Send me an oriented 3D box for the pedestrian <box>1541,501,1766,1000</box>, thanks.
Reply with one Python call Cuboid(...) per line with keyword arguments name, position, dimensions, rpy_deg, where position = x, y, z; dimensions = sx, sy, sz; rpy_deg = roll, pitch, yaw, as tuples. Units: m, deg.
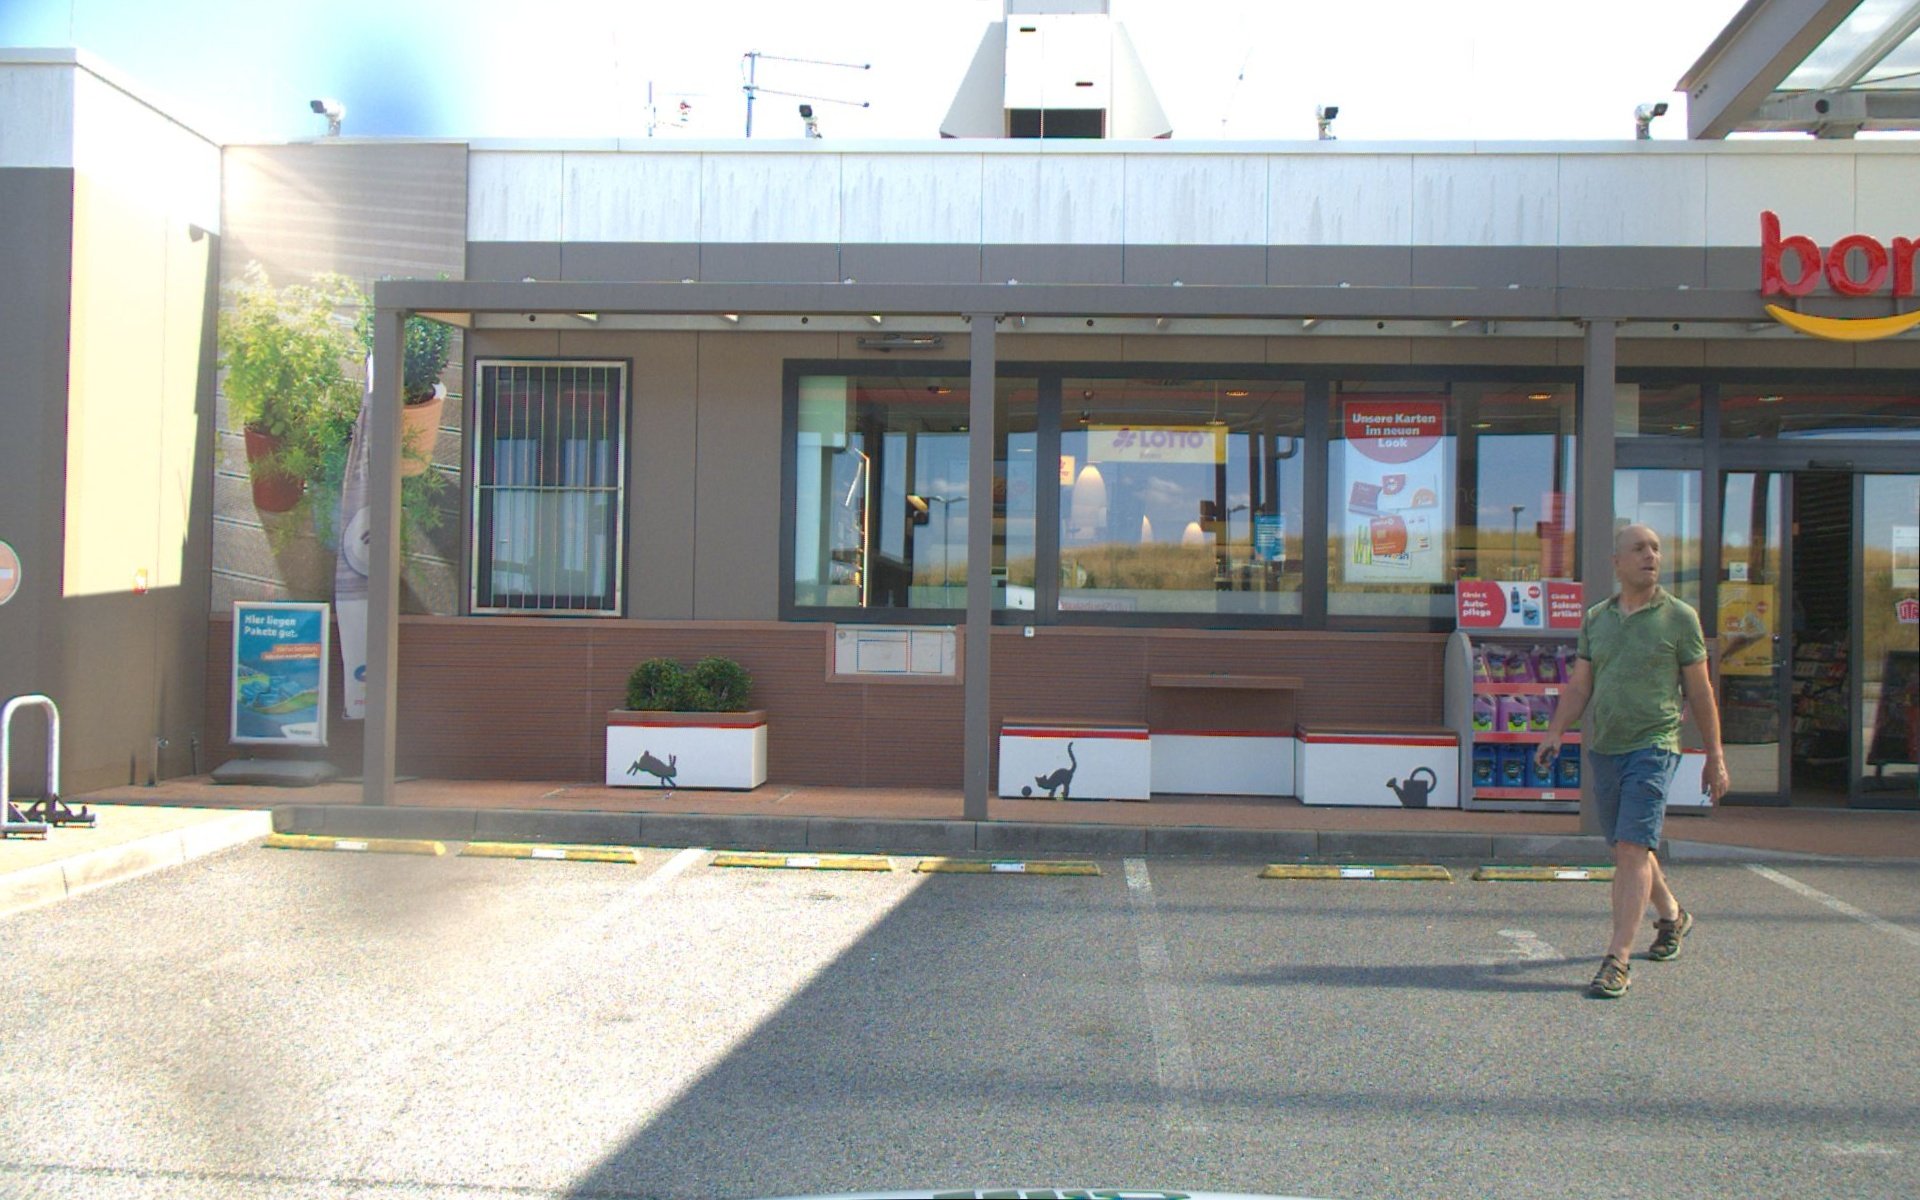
Cuboid(name="pedestrian", position=(2.789, 0.552, 6.625), dimensions=(0.688, 1.829, 0.860), rpy_deg=(0, 0, 33))
